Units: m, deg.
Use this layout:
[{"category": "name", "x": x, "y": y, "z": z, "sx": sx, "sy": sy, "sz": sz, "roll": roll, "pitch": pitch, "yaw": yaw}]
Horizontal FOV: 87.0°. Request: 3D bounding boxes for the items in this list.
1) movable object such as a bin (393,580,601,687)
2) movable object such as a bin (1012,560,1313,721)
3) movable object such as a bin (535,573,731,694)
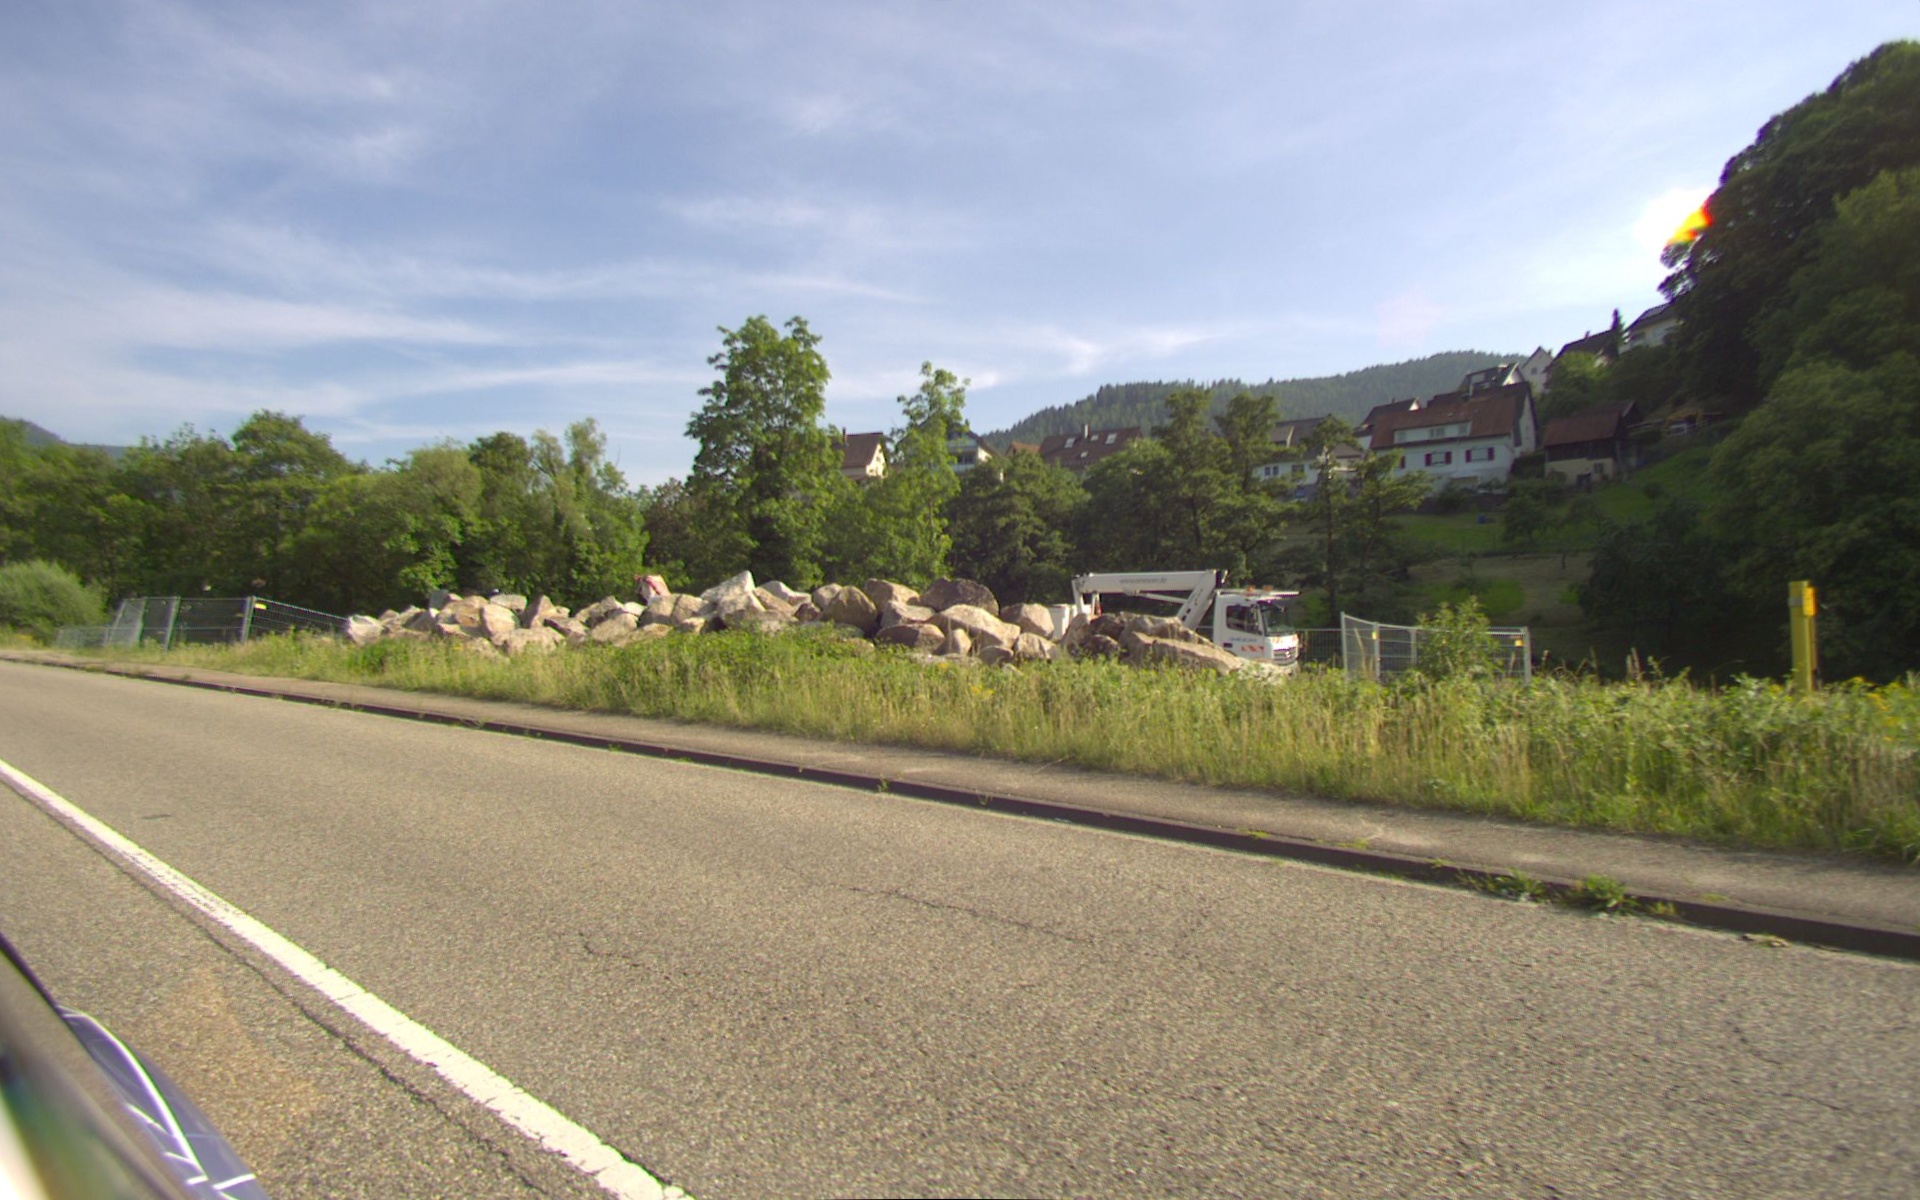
[{"category": "movable object such as a bin", "x": -19.000, "y": 1.370, "z": 41.191, "sx": 9.960, "sy": 3.977, "sz": 2.677, "roll": -1, "pitch": -4, "yaw": 33}, {"category": "movable object such as a bin", "x": 5.572, "y": 1.127, "z": 28.434, "sx": 7.787, "sy": 3.977, "sz": 2.874, "roll": -1, "pitch": -4, "yaw": 34}, {"category": "movable object such as a bin", "x": -11.837, "y": 1.228, "z": 36.447, "sx": 7.209, "sy": 3.977, "sz": 2.699, "roll": -1, "pitch": -4, "yaw": 34}]
